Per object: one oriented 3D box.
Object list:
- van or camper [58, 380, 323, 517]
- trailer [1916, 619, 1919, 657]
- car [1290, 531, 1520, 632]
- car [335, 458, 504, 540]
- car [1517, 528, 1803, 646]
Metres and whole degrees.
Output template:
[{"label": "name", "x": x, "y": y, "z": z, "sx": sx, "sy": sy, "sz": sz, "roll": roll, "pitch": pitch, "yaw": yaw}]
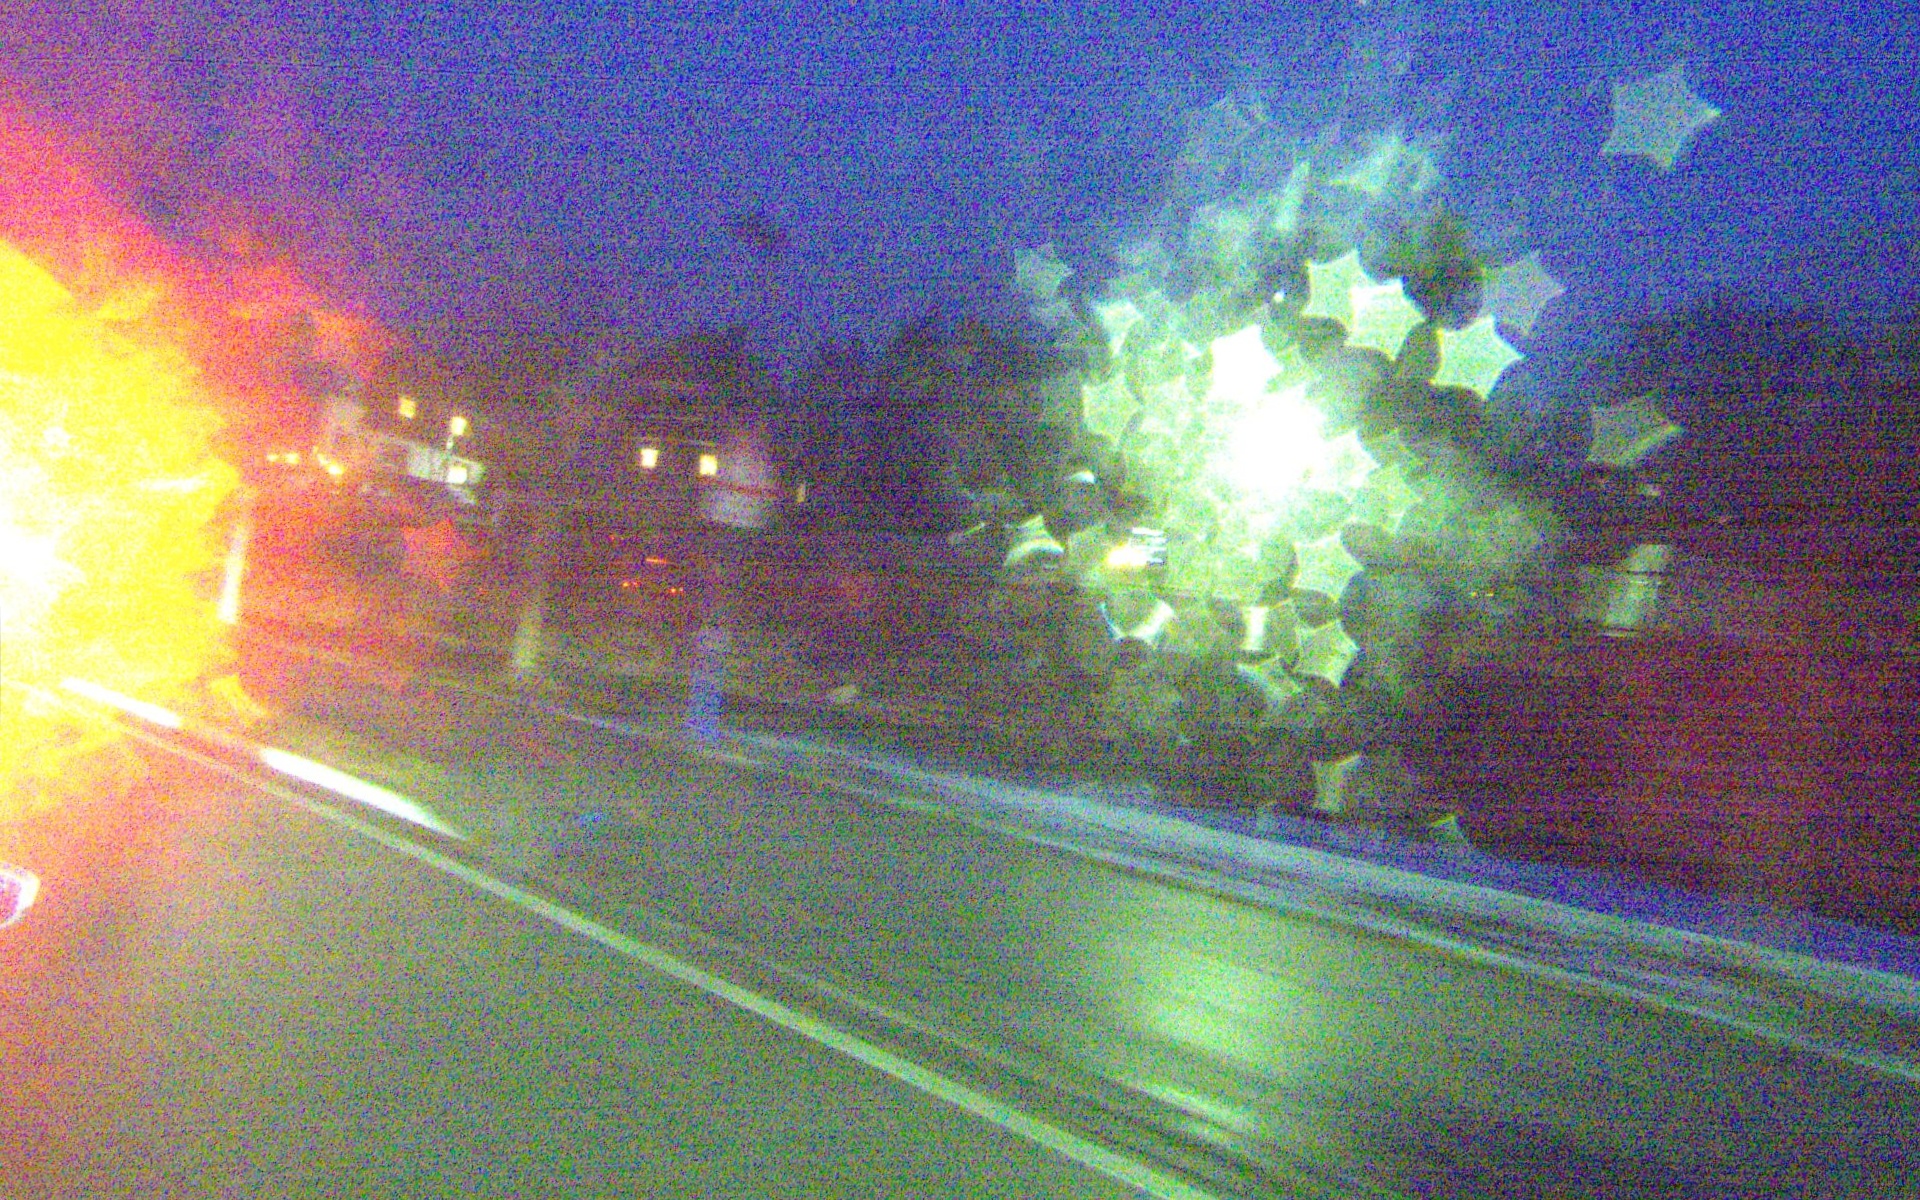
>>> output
[{"label": "van or camper", "x": -22.000, "y": -4.305, "z": 28.830, "sx": 6.238, "sy": 2.943, "sz": 2.590, "roll": 7, "pitch": 0, "yaw": 16}, {"label": "trailer", "x": 19.894, "y": 0.221, "z": 16.430, "sx": 5.614, "sy": 2.097, "sz": 2.234, "roll": 7, "pitch": -1, "yaw": 20}, {"label": "car", "x": 8.791, "y": -0.367, "z": 20.221, "sx": 3.925, "sy": 1.490, "sz": 1.619, "roll": 7, "pitch": -1, "yaw": 18}, {"label": "car", "x": -15.000, "y": -2.802, "z": 27.948, "sx": 4.056, "sy": 1.637, "sz": 1.643, "roll": 7, "pitch": -1, "yaw": 17}, {"label": "car", "x": 12.846, "y": -0.230, "z": 18.733, "sx": 3.925, "sy": 1.659, "sz": 1.619, "roll": 7, "pitch": -1, "yaw": 18}]
